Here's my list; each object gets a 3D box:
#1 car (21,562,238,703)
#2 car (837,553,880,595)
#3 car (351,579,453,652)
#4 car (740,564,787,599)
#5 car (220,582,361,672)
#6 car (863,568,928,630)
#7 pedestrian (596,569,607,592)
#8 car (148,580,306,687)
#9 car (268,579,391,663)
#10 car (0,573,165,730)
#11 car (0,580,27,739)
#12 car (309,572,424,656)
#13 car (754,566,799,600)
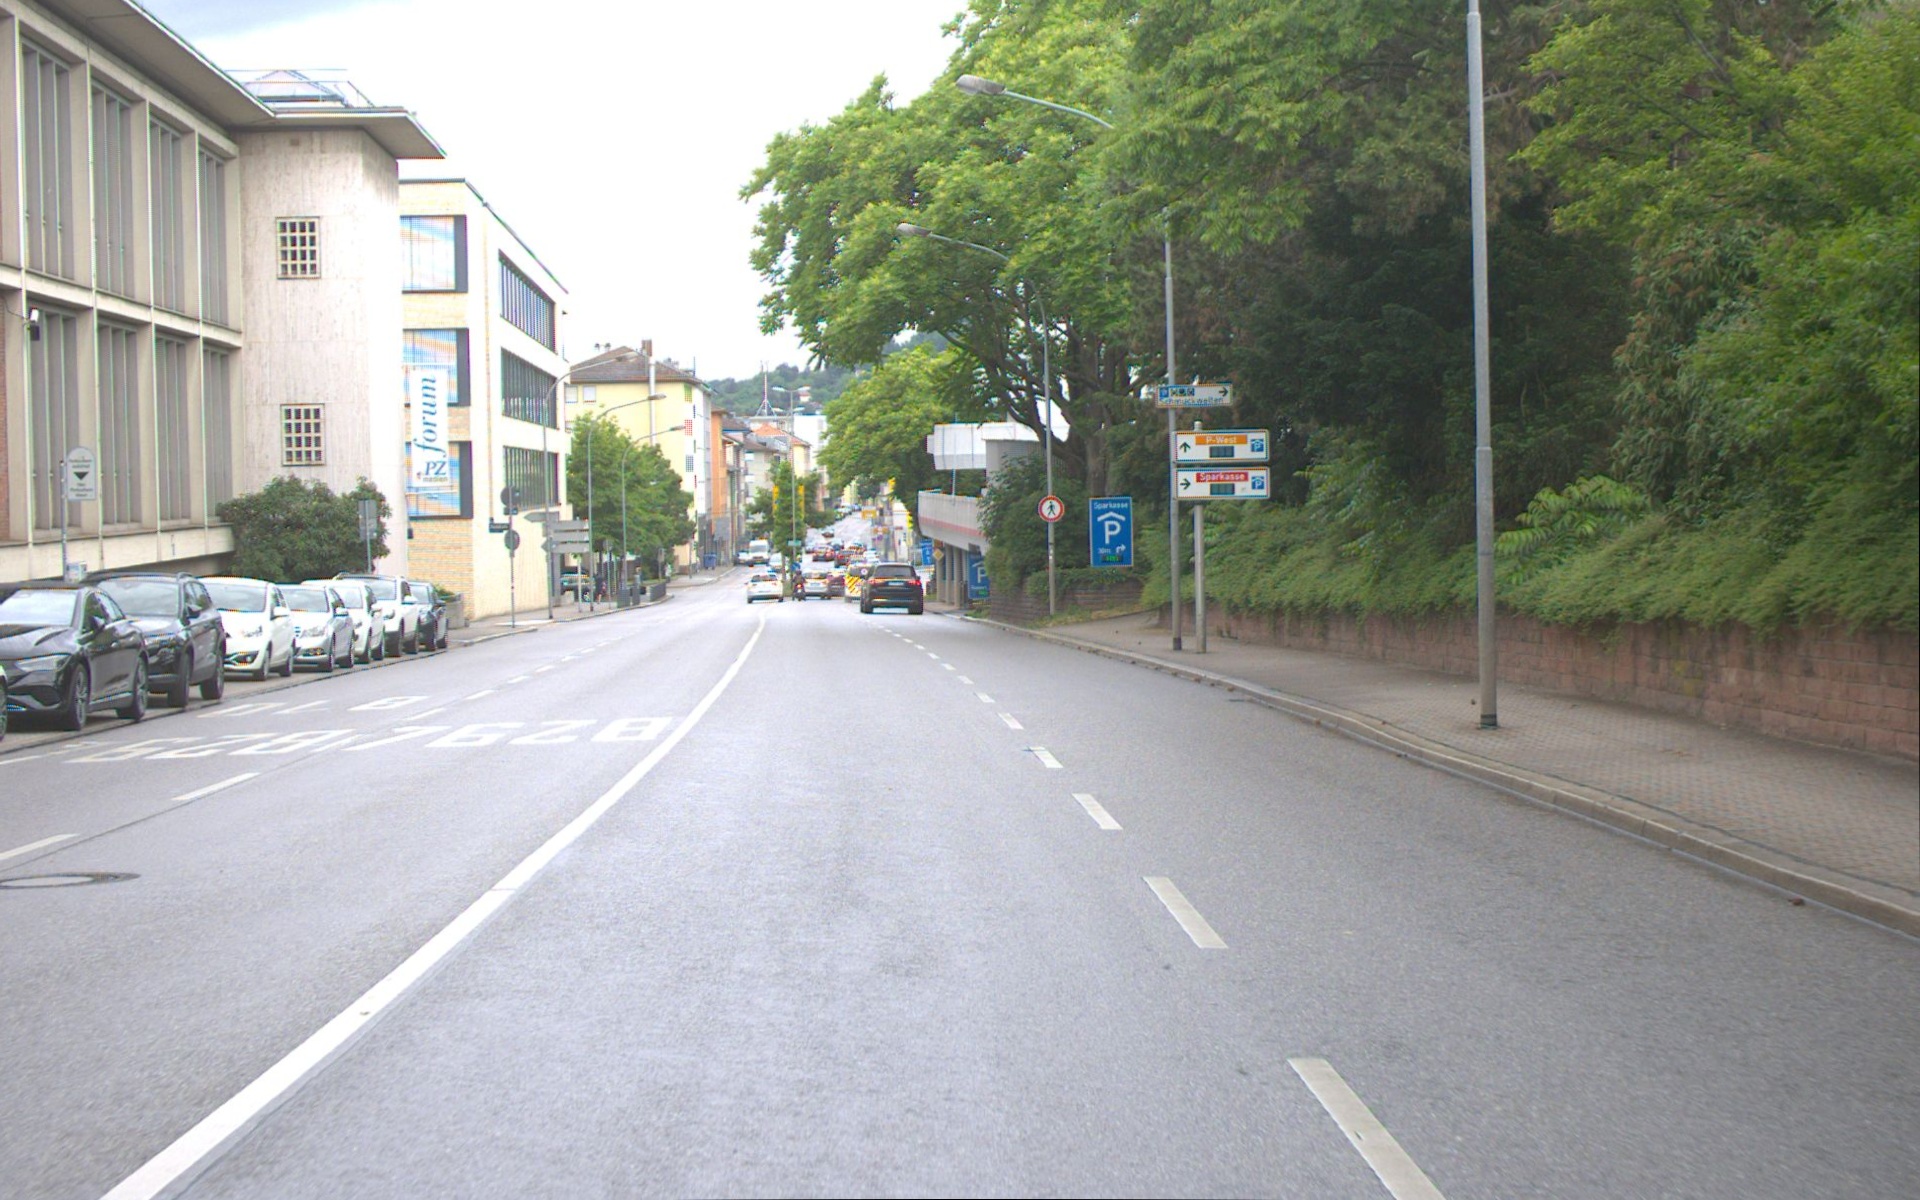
[{"bbox_3d":[-10.246,0.376,42.732,1.841,1.647,4.516,0,0,-3],"label":"car"},{"bbox_3d":[-4.881,-1.266,165.429,1.993,1.831,4.001,-3,2,-2],"label":"car"},{"bbox_3d":[-11.843,0.300,73.171,1.748,1.475,4.182,1,1,-4],"label":"car"},{"bbox_3d":[-9.682,-0.921,169.406,1.993,1.674,4.001,-1,1,-7],"label":"car"},{"bbox_3d":[-11.094,0.423,57.223,1.748,1.430,4.487,1,0,-4],"label":"car"},{"bbox_3d":[-2.265,-0.058,119.653,2.091,1.904,4.100,-3,2,-2],"label":"car"},{"bbox_3d":[-19.754,-1.063,189.491,0.454,1.274,0.454,-1,1,8],"label":"pedestrian"},{"bbox_3d":[-11.042,0.475,51.996,1.679,1.517,3.921,-1,1,-2],"label":"car"},{"bbox_3d":[-11.459,0.357,62.677,1.748,1.449,4.182,1,1,-4],"label":"car"},{"bbox_3d":[-9.841,0.497,36.303,1.815,1.479,4.910,-1,1,-1],"label":"car"},{"bbox_3d":[-9.802,0.600,31.483,1.566,1.479,3.553,-1,1,-1],"label":"car"},{"bbox_3d":[-11.701,0.251,67.987,1.748,1.592,4.182,1,1,-3],"label":"car"},{"bbox_3d":[-9.499,-0.898,177.770,1.993,1.674,4.001,-1,1,-7],"label":"car"}]
